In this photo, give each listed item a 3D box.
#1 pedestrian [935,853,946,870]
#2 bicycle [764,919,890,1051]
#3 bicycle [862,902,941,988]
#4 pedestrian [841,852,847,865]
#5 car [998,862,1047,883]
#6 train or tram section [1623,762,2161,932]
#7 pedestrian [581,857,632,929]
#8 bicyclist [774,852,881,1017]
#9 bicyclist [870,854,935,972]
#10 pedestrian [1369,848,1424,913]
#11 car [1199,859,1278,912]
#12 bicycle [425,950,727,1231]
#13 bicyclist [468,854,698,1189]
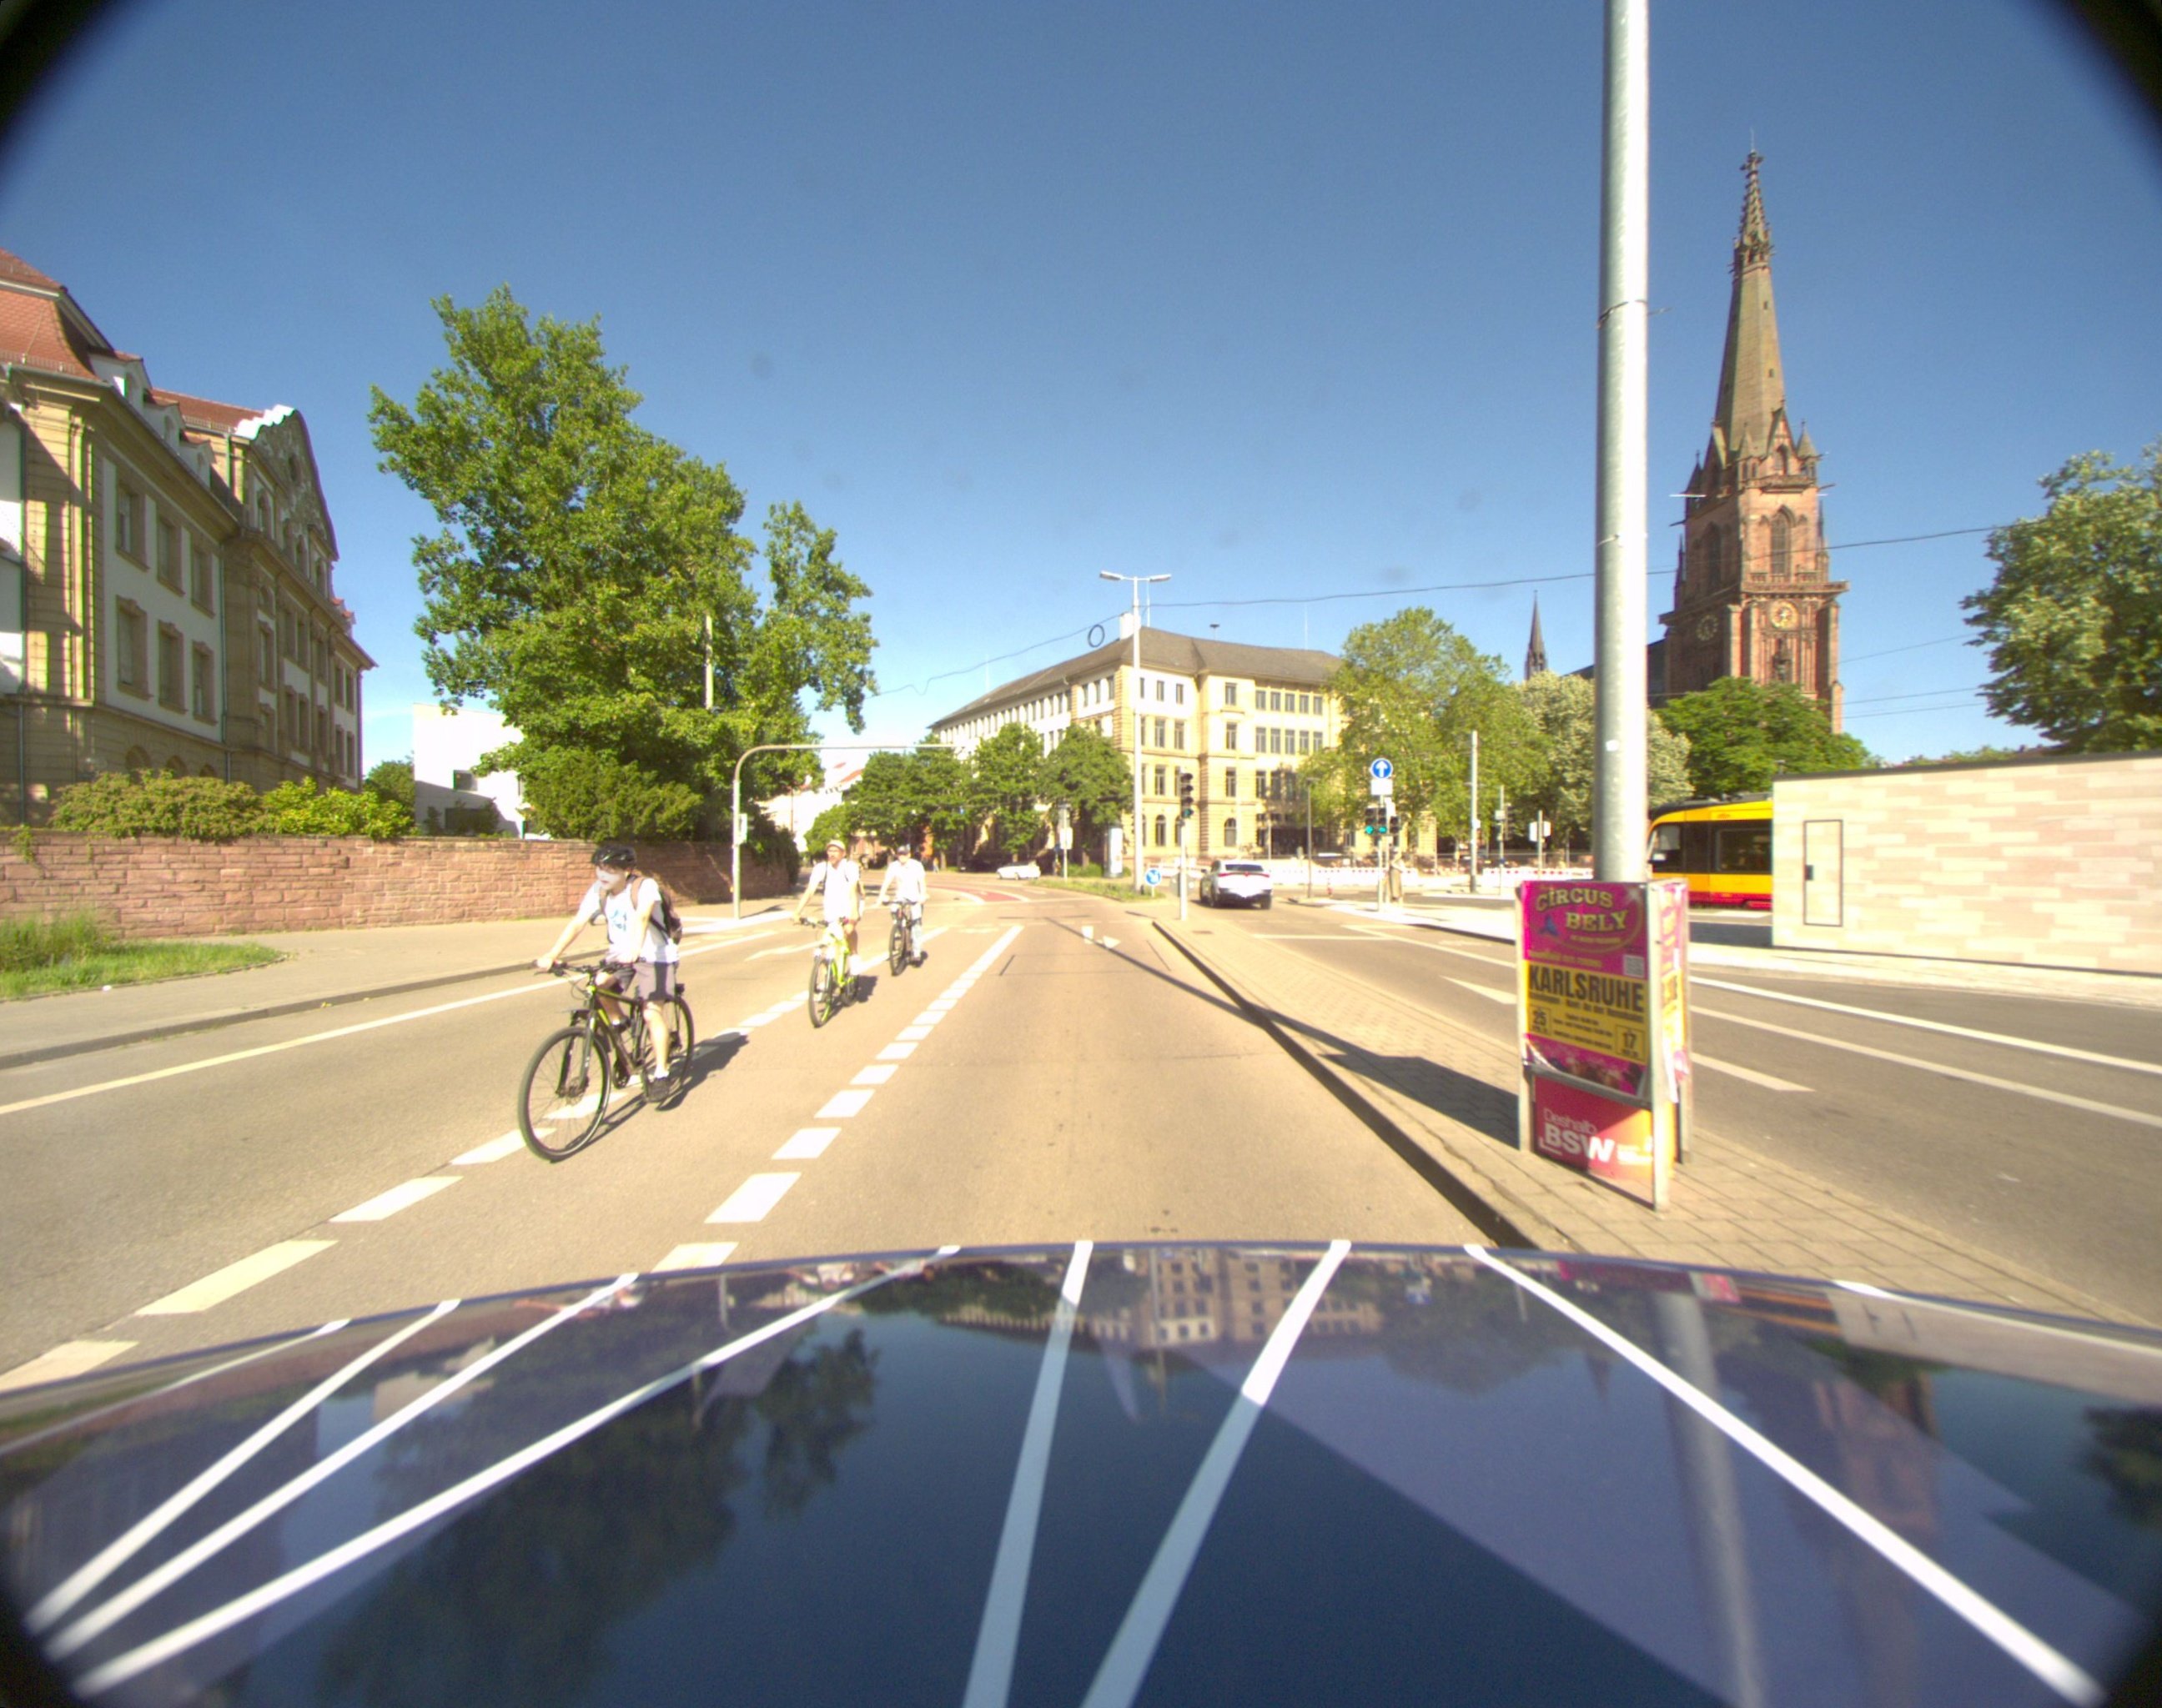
[{"bbox_3d":[-15.623,0.841,84.625,0.759,1.802,0.978,-1,1,-40],"label":"pedestrian"},{"bbox_3d":[-2.579,1.292,7.957,0.673,1.044,1.844,-3,0,-1],"label":"bicycle"},{"bbox_3d":[-2.602,1.287,11.231,0.749,1.044,1.903,0,0,-1],"label":"bicycle"},{"bbox_3d":[-36.381,0.680,116.638,0.758,1.801,0.979,-2,-3,-19],"label":"pedestrian"},{"bbox_3d":[-4.533,1.387,58.296,1.853,1.477,4.154,-1,0,-35],"label":"car"},{"bbox_3d":[21.843,-0.141,19.661,2.807,3.580,12.505,-1,0,-35],"label":"train or tram section"},{"bbox_3d":[-12.656,1.015,20.274,0.729,1.839,0.963,2,1,42],"label":"pedestrian"},{"bbox_3d":[-2.597,0.780,7.891,0.676,1.573,1.081,-3,0,0],"label":"bicyclist"},{"bbox_3d":[-2.604,0.831,11.155,0.742,1.664,0.865,-1,0,-1],"label":"bicyclist"},{"bbox_3d":[9.175,0.748,22.146,1.229,1.845,0.827,0,1,-5],"label":"pedestrian"},{"bbox_3d":[5.104,0.975,25.190,1.846,1.543,4.336,1,0,2],"label":"car"},{"bbox_3d":[-2.886,1.270,4.621,0.616,1.131,1.826,-1,0,-1],"label":"bicycle"},{"bbox_3d":[-2.911,0.906,4.558,0.678,1.775,0.939,-2,1,-1],"label":"bicyclist"}]
